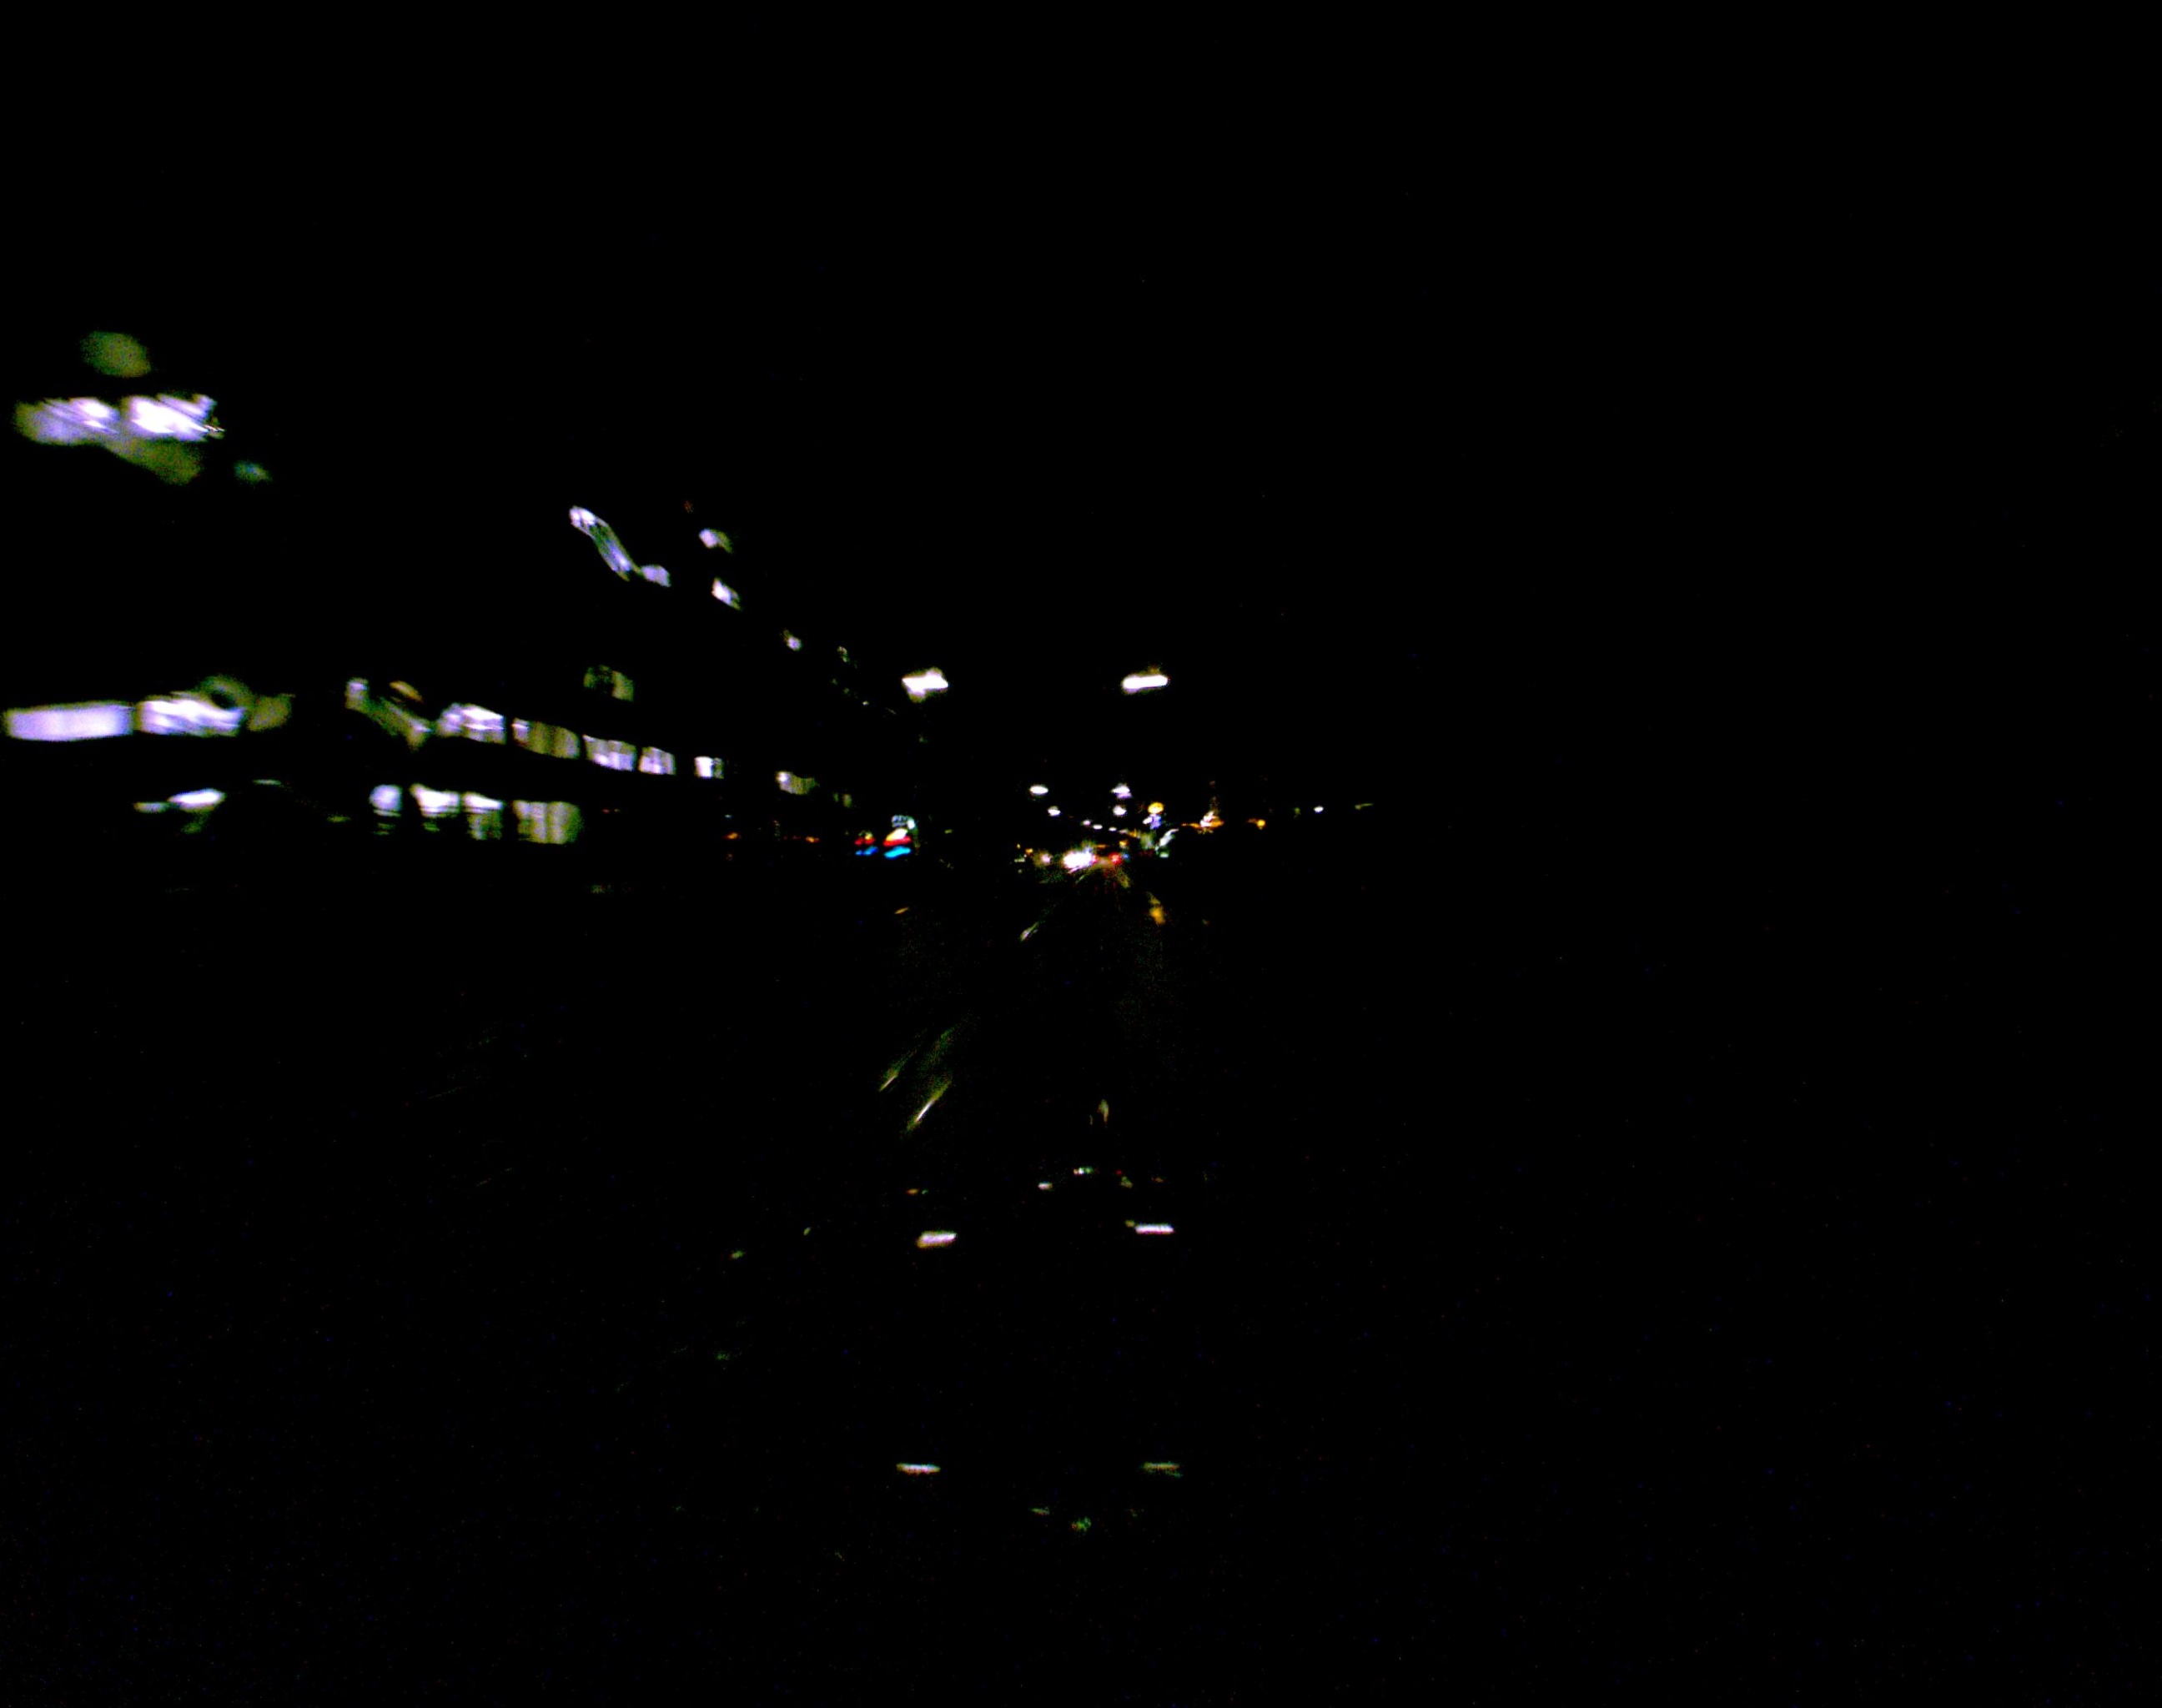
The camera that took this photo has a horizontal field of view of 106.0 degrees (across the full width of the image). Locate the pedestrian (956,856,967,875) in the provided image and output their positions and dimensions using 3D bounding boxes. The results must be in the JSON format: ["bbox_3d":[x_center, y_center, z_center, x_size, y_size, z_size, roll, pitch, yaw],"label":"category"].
[{"bbox_3d":[-10.681,1.019,72.717,0.783,1.686,0.883,-1,-1,1],"label":"pedestrian"}]

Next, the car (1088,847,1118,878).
[{"bbox_3d":[1.719,0.703,64.734,2.236,2.361,4.394,-1,-1,0],"label":"car"}]

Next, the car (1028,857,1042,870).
[{"bbox_3d":[-7.850,1.629,138.892,1.985,2.014,4.002,-1,-1,3],"label":"car"}]

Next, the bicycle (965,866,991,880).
[{"bbox_3d":[-7.749,1.422,61.086,1.847,1.077,0.628,-1,-1,1],"label":"bicycle"}]

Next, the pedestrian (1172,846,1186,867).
[{"bbox_3d":[7.815,0.198,65.010,0.937,1.664,0.993,-3,0,-3],"label":"pedestrian"}]

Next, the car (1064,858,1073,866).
[{"bbox_3d":[-2.638,1.684,171.106,1.988,1.724,4.073,-1,-1,-2],"label":"car"}]
